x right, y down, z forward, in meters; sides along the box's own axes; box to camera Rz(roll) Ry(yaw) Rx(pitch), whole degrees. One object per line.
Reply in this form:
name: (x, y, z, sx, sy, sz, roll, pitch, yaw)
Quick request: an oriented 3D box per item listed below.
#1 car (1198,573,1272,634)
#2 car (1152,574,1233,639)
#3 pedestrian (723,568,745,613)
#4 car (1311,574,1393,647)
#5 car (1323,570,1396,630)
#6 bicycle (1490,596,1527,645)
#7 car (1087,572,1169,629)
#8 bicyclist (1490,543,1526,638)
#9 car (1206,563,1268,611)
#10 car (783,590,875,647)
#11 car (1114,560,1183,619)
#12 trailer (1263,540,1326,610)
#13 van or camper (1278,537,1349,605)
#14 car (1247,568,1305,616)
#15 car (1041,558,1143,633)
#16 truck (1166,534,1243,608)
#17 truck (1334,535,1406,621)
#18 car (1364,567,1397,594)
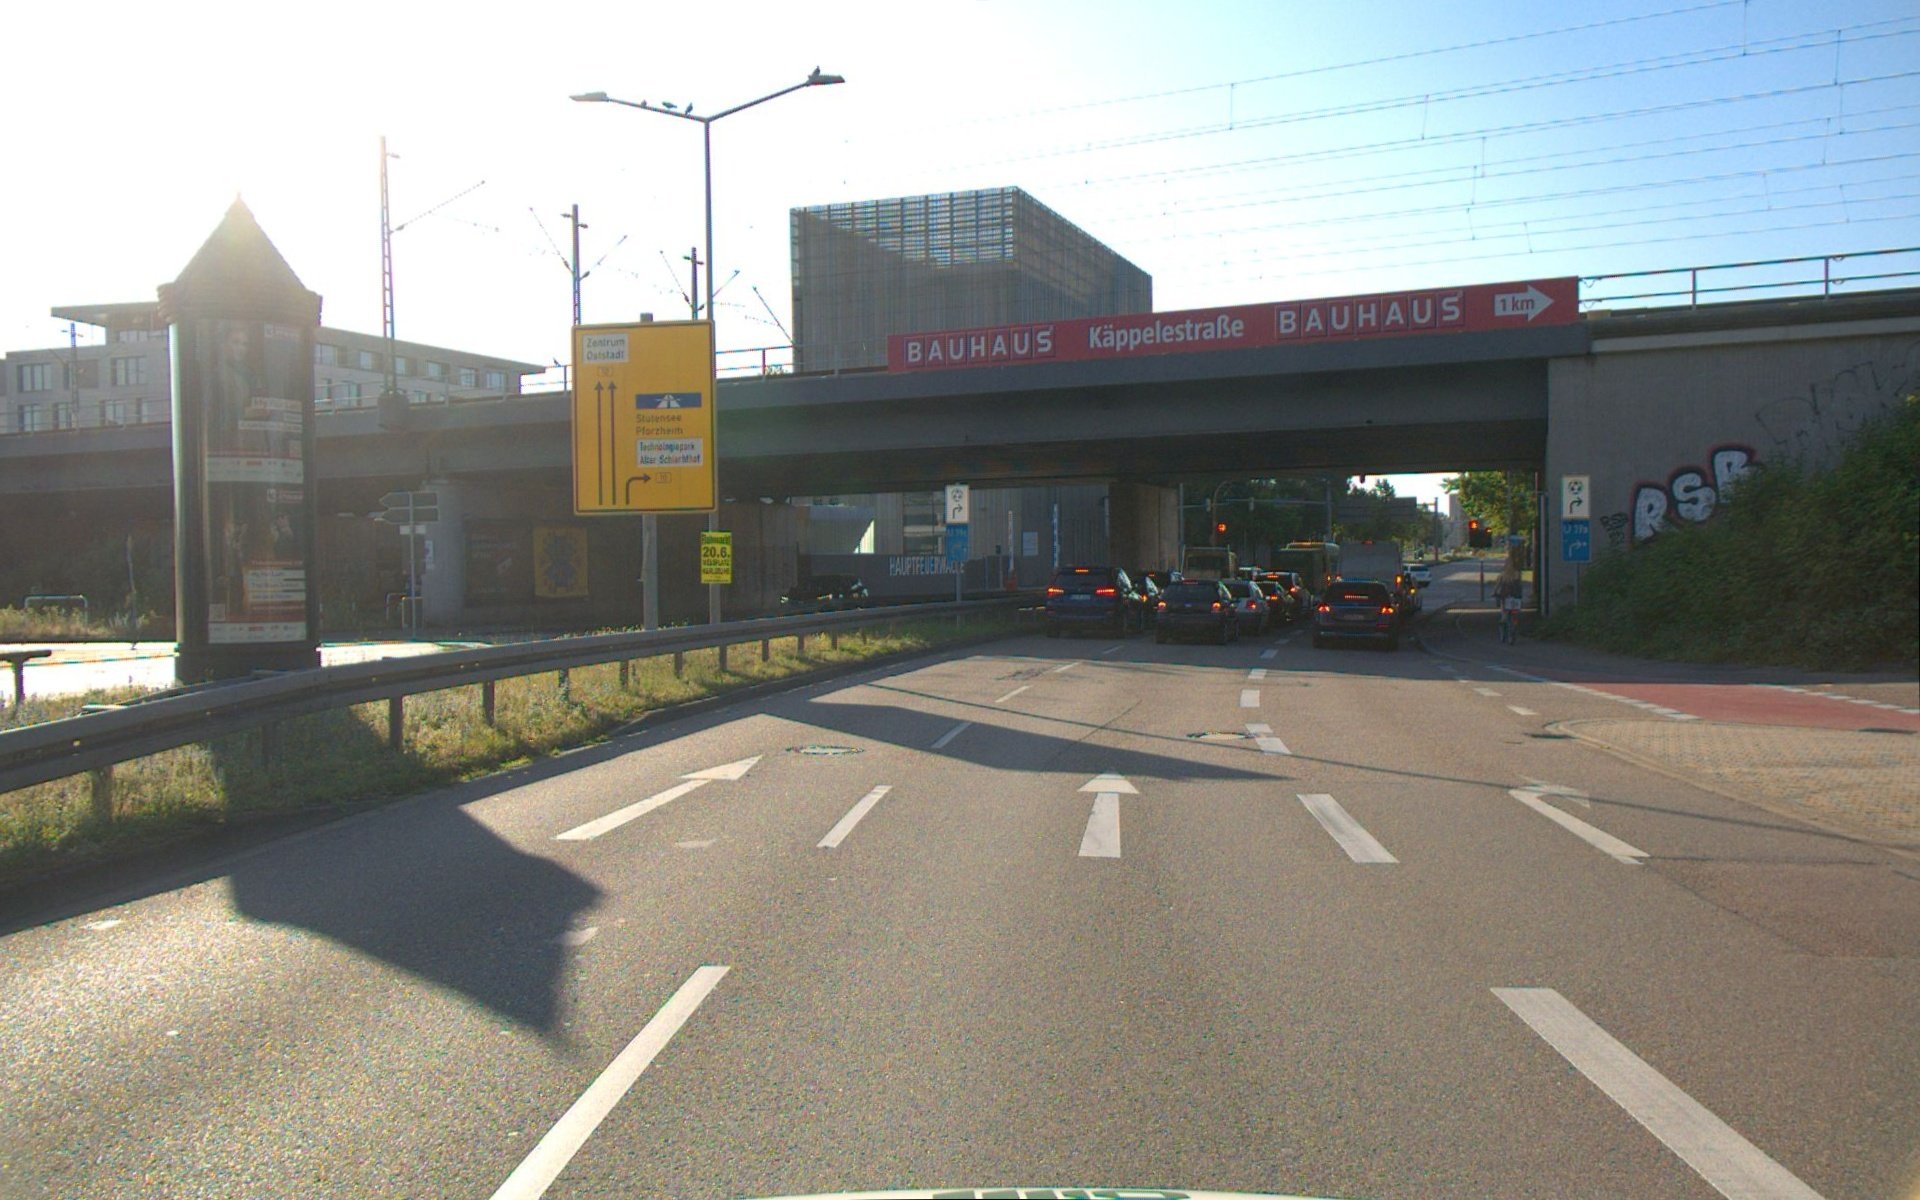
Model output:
car: (7.269, 0.067, 43.519, 1.514, 1.448, 3.420, -3, 0, 16)
car: (5.448, 0.145, 38.505, 1.548, 1.433, 3.835, 1, 0, 13)
pedestrian: (-9.690, -0.403, 70.905, 0.679, 1.937, 0.665, 0, 0, 19)
car: (8.970, 0.183, 37.740, 1.703, 1.480, 4.610, 0, 2, 14)
car: (10.982, 0.000, 45.346, 1.735, 1.521, 3.834, -1, 0, 16)
bicycle: (11.379, 0.400, 34.349, 0.566, 0.980, 2.888, 0, 0, 15)
car: (4.878, 0.011, 47.580, 1.802, 1.465, 3.678, -3, -1, 14)
bicyclist: (11.375, -0.204, 34.339, 0.667, 1.940, 0.834, 0, 0, 15)
car: (11.543, -0.530, 68.706, 1.952, 1.934, 4.002, 0, 0, 19)
car: (-4.135, 0.566, 52.862, 1.806, 1.631, 4.398, -3, -1, 10)
car: (6.172, -0.329, 53.802, 1.802, 1.749, 4.003, -3, -1, 12)
trailer: (12.584, -0.902, 62.040, 1.825, 2.508, 3.833, -1, 0, 18)
van or camper: (14.420, -1.144, 67.257, 1.952, 2.615, 5.918, 0, 0, 21)
car: (10.705, -0.265, 55.918, 1.548, 1.559, 3.834, 1, 0, 17)
car: (3.361, -0.118, 41.335, 1.790, 1.769, 4.465, 0, 0, 14)
truck: (9.074, -1.019, 60.930, 1.985, 2.601, 5.540, 0, 0, 17)
truck: (13.075, -0.667, 52.587, 2.066, 2.563, 4.404, -2, 0, 15)
car: (26.277, -1.210, 103.353, 1.762, 1.632, 4.002, 0, 0, 18)
